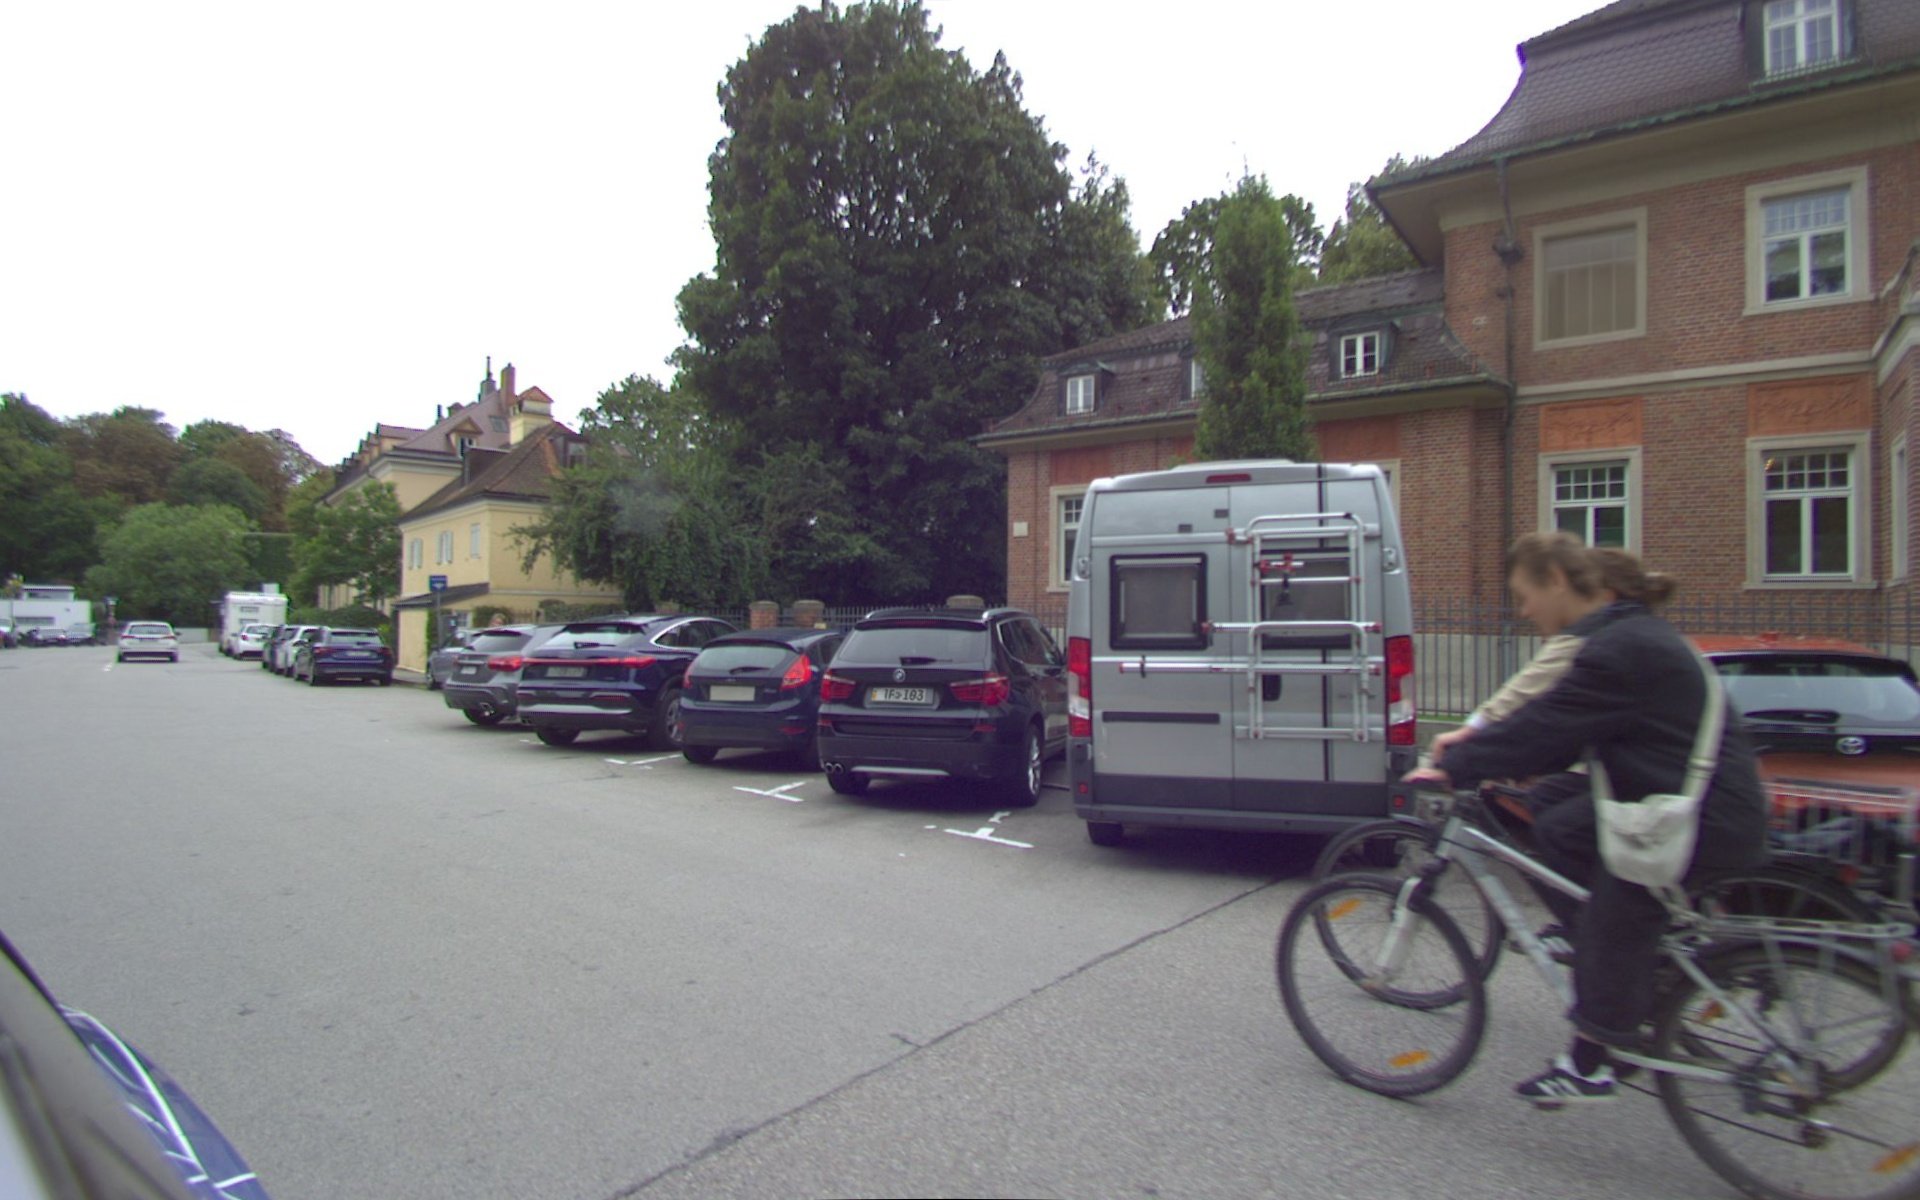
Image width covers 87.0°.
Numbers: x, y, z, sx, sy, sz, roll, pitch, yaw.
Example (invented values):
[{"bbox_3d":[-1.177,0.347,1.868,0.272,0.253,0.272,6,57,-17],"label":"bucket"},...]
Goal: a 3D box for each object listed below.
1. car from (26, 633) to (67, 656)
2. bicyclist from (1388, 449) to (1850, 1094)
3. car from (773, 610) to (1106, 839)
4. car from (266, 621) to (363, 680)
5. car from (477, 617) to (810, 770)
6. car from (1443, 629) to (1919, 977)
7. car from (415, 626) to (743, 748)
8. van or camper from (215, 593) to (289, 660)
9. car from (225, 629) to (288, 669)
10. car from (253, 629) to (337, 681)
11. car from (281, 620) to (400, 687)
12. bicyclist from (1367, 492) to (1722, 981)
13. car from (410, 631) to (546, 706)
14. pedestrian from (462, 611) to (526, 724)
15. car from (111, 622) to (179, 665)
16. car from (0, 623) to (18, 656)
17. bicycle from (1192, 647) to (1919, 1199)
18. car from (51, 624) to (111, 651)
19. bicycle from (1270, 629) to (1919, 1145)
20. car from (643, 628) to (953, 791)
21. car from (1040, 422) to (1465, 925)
[{"bbox_3d":[-64.245,3.134,71.176,4.270,1.457,1.870,-4,-2,45],"label":"car"},{"bbox_3d":[1.752,0.375,2.718,0.930,1.362,0.689,-2,-3,42],"label":"bicyclist"},{"bbox_3d":[0.109,1.034,9.939,1.950,1.638,4.501,1,-3,17],"label":"car"},{"bbox_3d":[-18.945,1.464,29.613,1.821,1.547,4.529,5,-4,-39],"label":"car"},{"bbox_3d":[-3.843,1.127,13.275,1.948,1.606,4.501,0,-3,17],"label":"car"},{"bbox_3d":[4.716,0.968,6.696,1.919,1.528,4.505,0,-2,15],"label":"car"},{"bbox_3d":[-5.612,1.207,15.405,1.930,1.541,4.290,0,-2,37],"label":"car"},{"bbox_3d":[-34.009,1.310,48.499,2.423,2.963,7.226,4,-4,-37],"label":"van or camper"},{"bbox_3d":[-29.217,2.032,42.007,1.756,1.547,4.235,5,-4,-39],"label":"car"},{"bbox_3d":[-21.972,1.776,33.367,1.821,1.547,4.449,5,-4,-39],"label":"car"},{"bbox_3d":[-15.850,1.347,25.780,1.822,1.547,4.569,5,-5,-40],"label":"car"},{"bbox_3d":[2.008,0.407,3.499,0.930,1.408,0.689,-2,-3,42],"label":"bicyclist"},{"bbox_3d":[-11.051,1.518,23.081,1.719,1.547,4.155,5,-5,-40],"label":"car"},{"bbox_3d":[-7.048,1.010,15.314,0.715,1.660,0.583,-1,-4,45],"label":"pedestrian"},{"bbox_3d":[-29.836,1.566,37.018,1.750,1.486,4.139,2,-2,-41],"label":"car"},{"bbox_3d":[-58.657,2.380,61.198,1.910,1.919,5.082,5,-5,-38],"label":"car"},{"bbox_3d":[1.746,0.803,2.732,2.118,1.315,0.699,-1,-3,42],"label":"bicycle"},{"bbox_3d":[-58.502,2.558,67.419,1.965,1.706,4.348,2,-4,-27],"label":"car"},{"bbox_3d":[2.177,0.758,3.332,2.118,1.315,0.699,-1,-3,42],"label":"bicycle"},{"bbox_3d":[-1.655,1.169,12.082,1.818,1.498,4.396,1,-3,18],"label":"car"},{"bbox_3d":[2.179,0.481,7.750,2.215,2.583,4.611,0,-3,17],"label":"car"}]
